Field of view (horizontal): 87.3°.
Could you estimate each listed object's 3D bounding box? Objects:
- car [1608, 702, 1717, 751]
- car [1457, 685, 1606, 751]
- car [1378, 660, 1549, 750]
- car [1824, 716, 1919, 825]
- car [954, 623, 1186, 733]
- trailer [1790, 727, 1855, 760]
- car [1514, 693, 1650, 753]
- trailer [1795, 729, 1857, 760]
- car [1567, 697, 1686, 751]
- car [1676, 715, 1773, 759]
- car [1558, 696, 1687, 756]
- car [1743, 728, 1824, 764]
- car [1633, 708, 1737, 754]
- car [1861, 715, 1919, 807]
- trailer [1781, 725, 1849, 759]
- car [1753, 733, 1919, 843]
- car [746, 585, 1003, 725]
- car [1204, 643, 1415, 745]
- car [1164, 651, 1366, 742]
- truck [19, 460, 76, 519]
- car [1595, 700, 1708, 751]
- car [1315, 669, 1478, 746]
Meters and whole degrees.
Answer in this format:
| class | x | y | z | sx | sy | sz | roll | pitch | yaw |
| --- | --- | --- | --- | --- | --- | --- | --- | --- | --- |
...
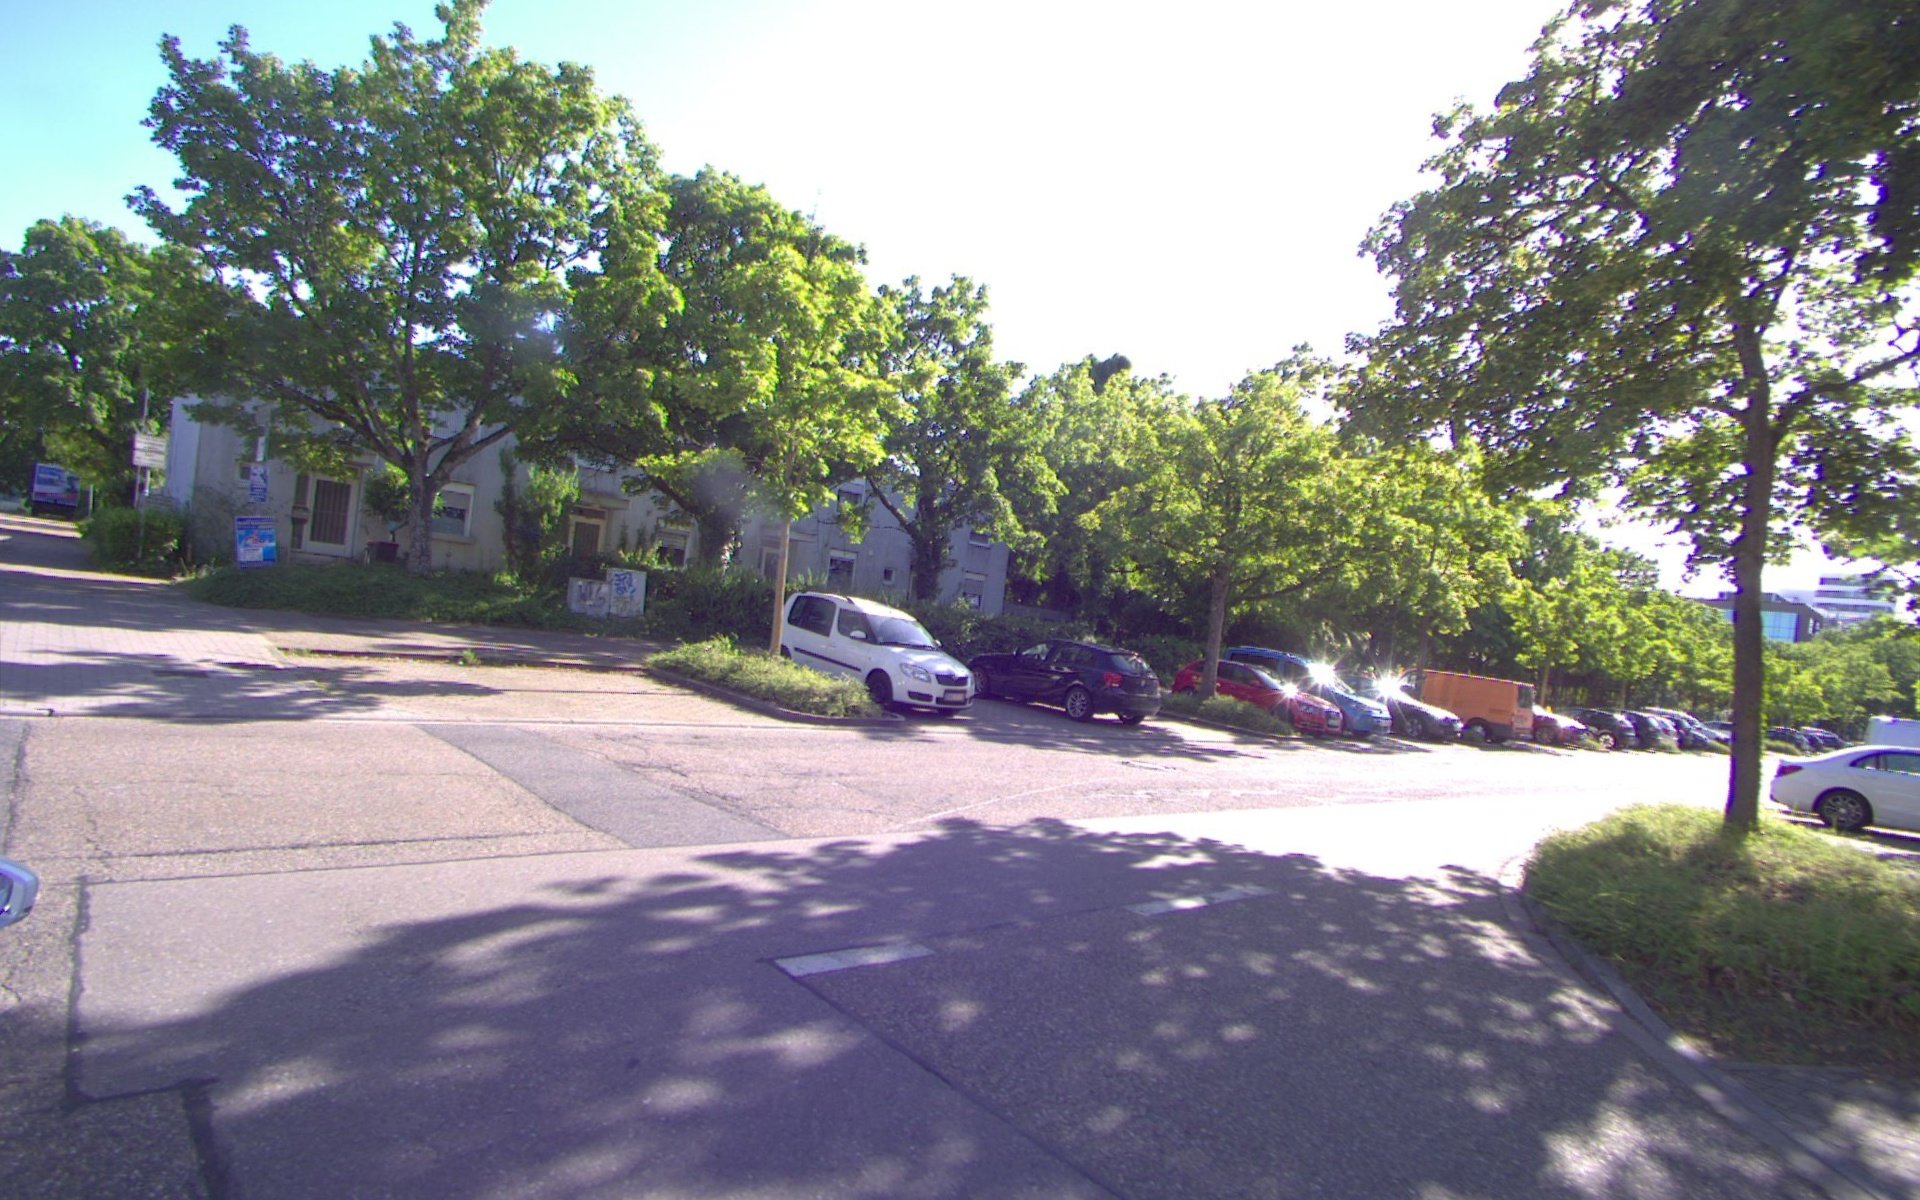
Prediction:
| class | x | y | z | sx | sy | sz | roll | pitch | yaw |
| --- | --- | --- | --- | --- | --- | --- | --- | --- | --- |
| car | 36.446 | 6.561 | 52.258 | 1.962 | 1.737 | 4.206 | 7 | 1 | -44 |
| car | 20.868 | 4.291 | 36.831 | 1.962 | 1.591 | 4.206 | 7 | 1 | -44 |
| car | 15.785 | 3.266 | 31.702 | 1.962 | 2.057 | 4.206 | 7 | 1 | -44 |
| car | 21.212 | 3.829 | 20.940 | 1.988 | 2.014 | 4.579 | 9 | -1 | -43 |
| car | 2.015 | 1.452 | 19.341 | 1.818 | 1.423 | 4.115 | 7 | 1 | -44 |
| trailer | 72.414 | 12.062 | 84.518 | 3.943 | 2.037 | 1.992 | 7 | -1 | 41 |
| car | 25.232 | 4.965 | 40.903 | 1.962 | 1.634 | 4.206 | 7 | 1 | -44 |
| trailer | 76.742 | 12.818 | 89.184 | 3.943 | 2.037 | 1.992 | 7 | -1 | 41 |
| car | 31.441 | 5.839 | 47.560 | 1.962 | 1.737 | 4.206 | 7 | 1 | -44 |
| car | 45.434 | 8.116 | 59.829 | 1.962 | 1.737 | 4.206 | 7 | 1 | -44 |
| car | 28.759 | 5.461 | 43.785 | 1.962 | 1.775 | 4.206 | 7 | 1 | -44 |
| car | 59.764 | 10.551 | 73.009 | 1.962 | 1.737 | 4.206 | 7 | 1 | -44 |
| car | 39.728 | 7.161 | 55.190 | 1.962 | 1.737 | 4.206 | 7 | 1 | -44 |
| car | 28.786 | 4.864 | 28.102 | 1.988 | 2.406 | 5.073 | 9 | -1 | -43 |
| trailer | 68.888 | 11.457 | 81.112 | 3.943 | 2.037 | 1.992 | 7 | -1 | 41 |
| car | 15.623 | 3.128 | 15.824 | 1.816 | 1.422 | 4.637 | 8 | -3 | -41 |
| car | -1.489 | 0.832 | 16.243 | 1.818 | 1.618 | 4.115 | 7 | 1 | -44 |
| car | 8.806 | 2.340 | 25.668 | 1.818 | 1.794 | 4.605 | 7 | 1 | -44 |
| car | 7.162 | 2.257 | 23.898 | 1.818 | 1.423 | 4.115 | 7 | 1 | -44 |
| truck | -71.143 | -8.561 | 78.547 | 2.751 | 3.915 | 9.220 | 8 | -1 | -41 |
| car | 34.538 | 6.236 | 50.346 | 1.962 | 1.737 | 4.206 | 7 | 1 | -44 |
| car | 12.413 | 3.042 | 28.749 | 1.758 | 1.492 | 3.739 | 7 | 1 | -44 |
